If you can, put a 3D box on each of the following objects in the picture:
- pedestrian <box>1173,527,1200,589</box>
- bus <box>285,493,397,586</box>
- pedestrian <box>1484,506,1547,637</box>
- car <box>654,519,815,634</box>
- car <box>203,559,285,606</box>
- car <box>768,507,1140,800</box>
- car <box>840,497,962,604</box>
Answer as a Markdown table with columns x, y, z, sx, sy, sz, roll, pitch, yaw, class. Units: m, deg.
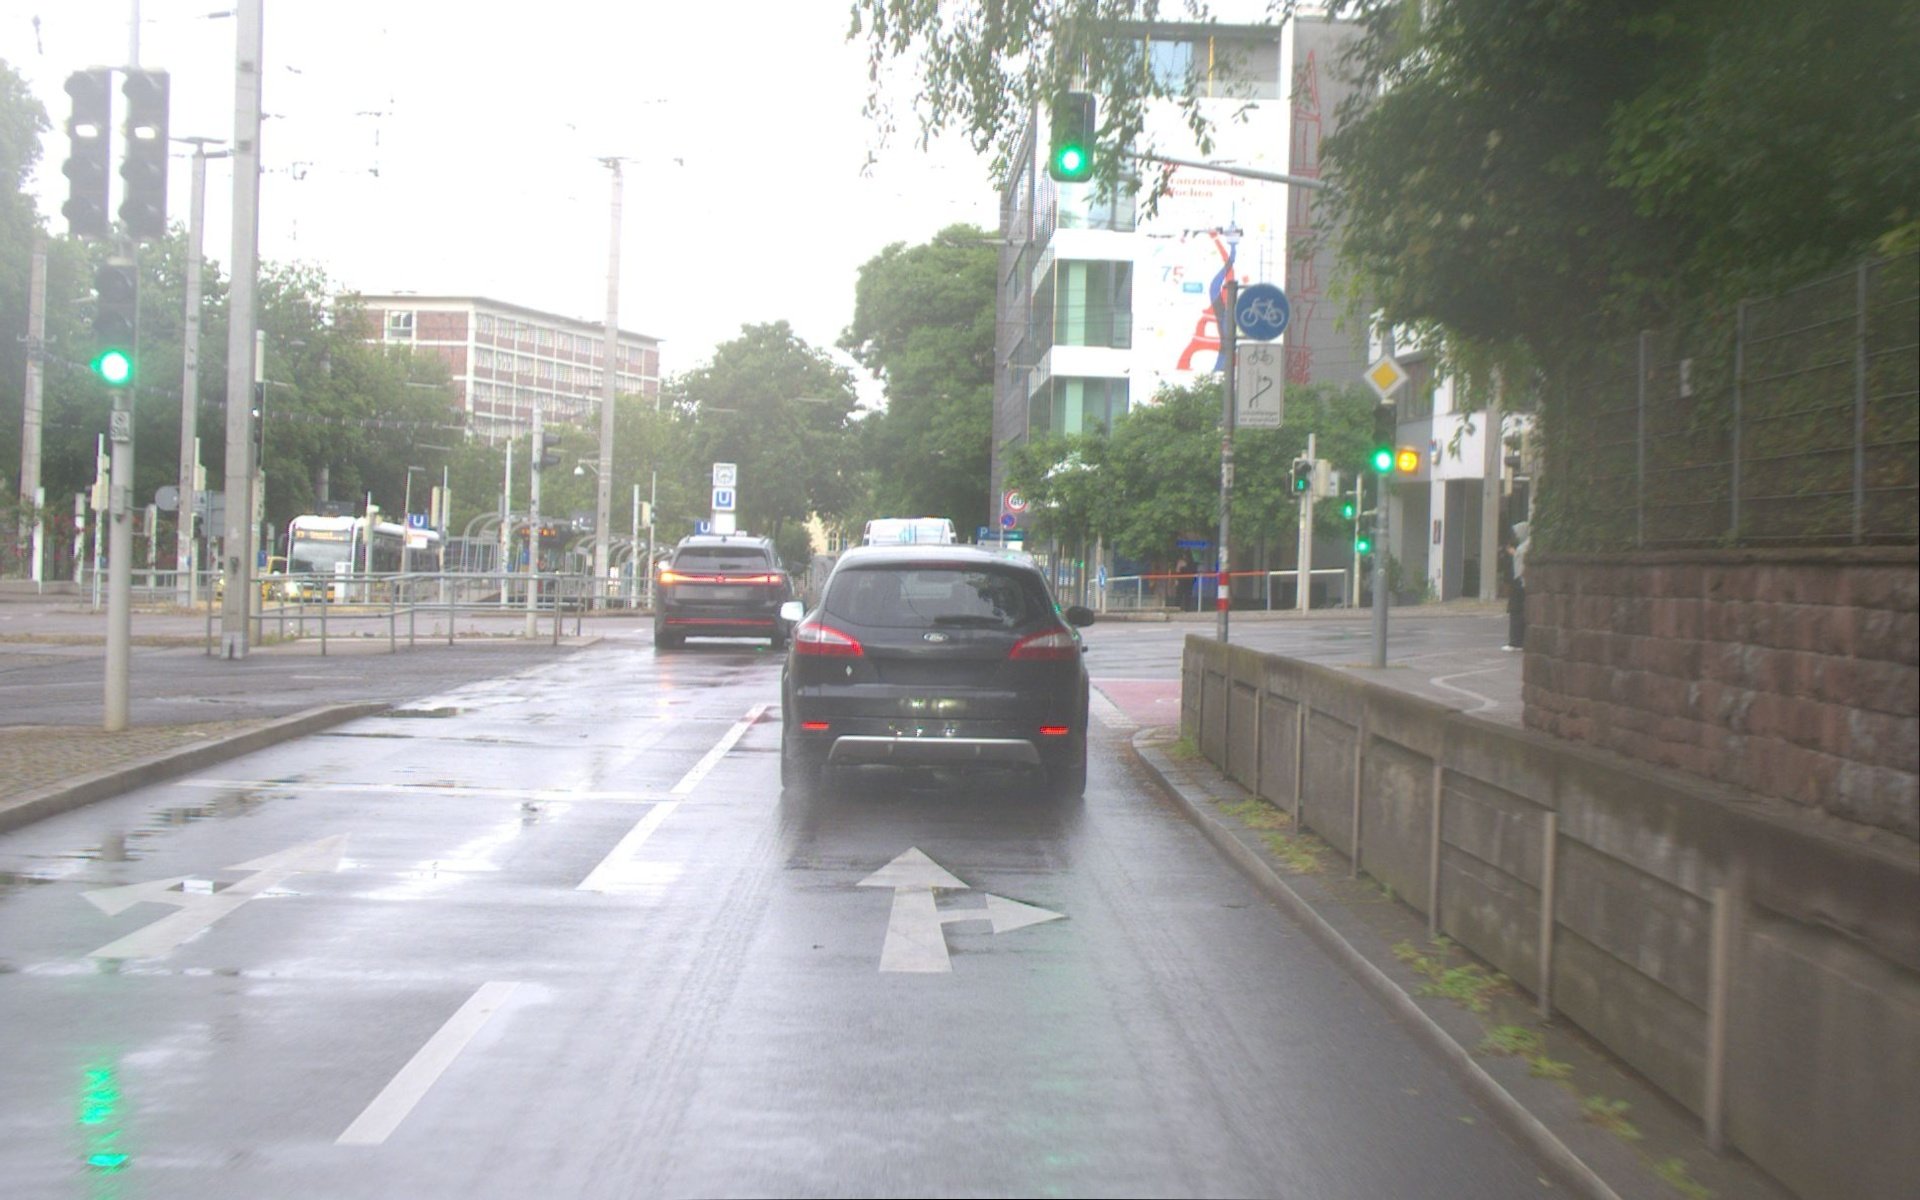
| x | y | z | sx | sy | sz | roll | pitch | yaw | class |
| --- | --- | --- | --- | --- | --- | --- | --- | --- | --- |
| 5.664 | -1.046 | 86.137 | 0.542 | 1.558 | 0.521 | 0 | 0 | 20 | pedestrian |
| -23.081 | -2.215 | 128.760 | 3.076 | 3.289 | 12.525 | 0 | 1 | -5 | bus |
| 7.295 | -0.372 | 45.139 | 0.528 | 1.706 | 0.704 | 1 | 1 | 38 | pedestrian |
| -3.083 | -0.324 | 47.459 | 2.098 | 1.500 | 4.732 | 0 | 1 | -3 | car |
| -25.869 | -0.639 | 124.334 | 1.993 | 1.640 | 4.536 | 0 | 0 | 0 | car |
| -0.056 | 0.265 | 21.389 | 2.036 | 1.579 | 4.392 | 2 | 1 | -1 | car |
| -1.046 | -0.917 | 63.370 | 2.036 | 1.833 | 4.392 | 2 | 1 | 1 | car |
